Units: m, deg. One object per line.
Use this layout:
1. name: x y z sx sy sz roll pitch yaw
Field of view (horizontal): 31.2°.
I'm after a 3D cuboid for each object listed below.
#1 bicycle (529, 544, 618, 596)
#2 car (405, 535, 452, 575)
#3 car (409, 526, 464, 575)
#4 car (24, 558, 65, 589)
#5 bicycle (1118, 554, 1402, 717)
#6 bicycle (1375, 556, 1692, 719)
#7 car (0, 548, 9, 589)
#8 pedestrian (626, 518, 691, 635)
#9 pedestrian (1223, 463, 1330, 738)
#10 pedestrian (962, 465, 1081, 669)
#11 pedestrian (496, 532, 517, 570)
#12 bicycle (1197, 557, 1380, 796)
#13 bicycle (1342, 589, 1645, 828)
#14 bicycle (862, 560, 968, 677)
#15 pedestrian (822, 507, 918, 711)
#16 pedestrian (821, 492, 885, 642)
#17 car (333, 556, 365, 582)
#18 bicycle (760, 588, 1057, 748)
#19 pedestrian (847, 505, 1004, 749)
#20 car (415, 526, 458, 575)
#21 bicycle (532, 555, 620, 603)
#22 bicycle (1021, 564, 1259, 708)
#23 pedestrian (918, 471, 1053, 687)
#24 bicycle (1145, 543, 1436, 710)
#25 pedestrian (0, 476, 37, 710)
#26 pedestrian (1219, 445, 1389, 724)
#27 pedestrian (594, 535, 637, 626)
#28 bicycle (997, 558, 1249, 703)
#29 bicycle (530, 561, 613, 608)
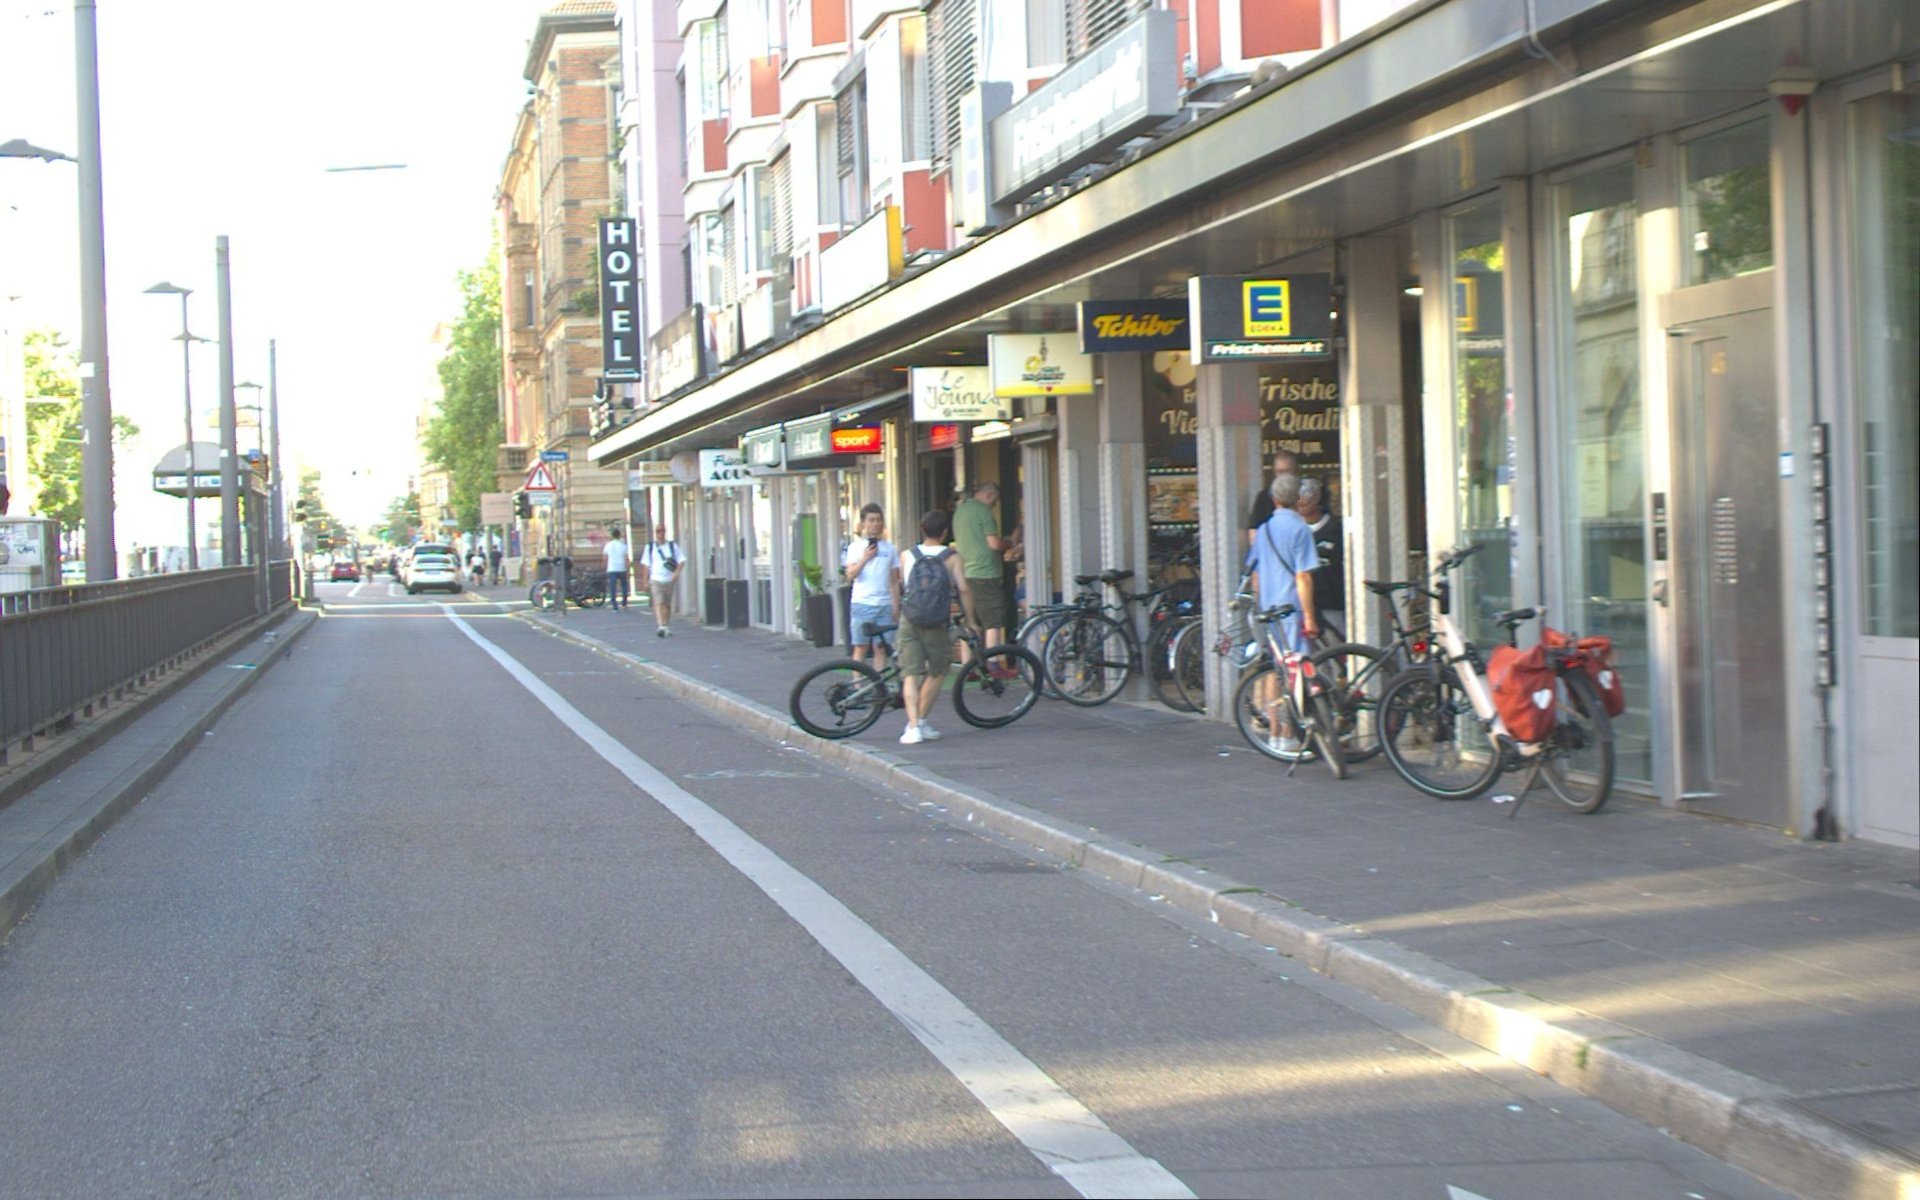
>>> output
1. bicycle: -8.921 -0.696 79.355 1.969 1.101 0.614 -2 1 -12
2. car: -24.125 -2.049 155.856 1.949 1.782 5.183 0 1 -11
3. car: -19.484 -1.842 127.927 1.966 1.765 4.876 0 1 -9
4. car: -48.439 -1.419 181.953 1.869 1.594 4.255 -1 1 -12
5. bicycle: 2.188 0.247 25.117 1.923 1.056 0.576 -4 1 -12
6. bicycle: 3.754 0.236 22.507 1.923 0.935 0.576 -4 1 -12
7. car: -42.336 -1.356 148.379 2.090 1.707 4.820 0 0 -10
8. pedestrian: -4.628 -0.357 52.761 0.798 1.716 1.061 -5 1 -8
9. pedestrian: 1.886 -0.002 20.464 0.407 1.589 0.461 -4 2 18
10. pedestrian: 0.580 -0.309 32.366 0.777 1.860 0.687 -4 1 -29
11. pedestrian: -19.811 -2.145 150.191 0.775 1.561 0.914 -5 2 -8
12. bicycle: 1.781 0.392 18.852 0.799 1.171 1.633 -5 1 2
13. bicycle: 2.459 0.474 16.076 0.676 0.973 1.843 -6 2 -13
14. bicycle: -0.456 0.168 33.984 0.657 1.063 1.795 -6 2 -10
15. pedestrian: -0.762 0.071 28.892 0.632 1.667 0.771 -3 1 -9
16. pedestrian: -1.213 -0.376 39.037 0.541 1.667 0.469 -3 1 -18
17. car: -40.806 -2.069 229.771 2.040 1.668 4.877 0 1 -10
18. bicycle: -0.380 0.483 24.851 2.022 0.970 0.659 -4 2 -7
19. pedestrian: -0.251 0.185 24.387 0.776 1.658 0.917 -4 1 -18
20. car: -22.909 -2.155 150.598 1.705 2.112 3.707 -1 0 -7
21. bicycle: -8.789 -0.492 78.713 1.912 1.044 0.681 -2 1 -12
22. bicycle: 1.393 0.275 26.780 1.730 0.970 0.506 -5 1 -5
23. pedestrian: 0.226 -0.193 31.163 0.914 1.860 0.779 -5 1 -12
24. bicycle: 2.352 0.177 24.475 1.923 1.056 0.576 -4 1 -12
25. pedestrian: -7.493 -0.051 26.629 0.582 1.785 0.606 -2 1 -11
26. pedestrian: 2.283 -0.114 22.832 0.806 1.810 0.731 0 2 43
27. pedestrian: -7.252 -0.410 72.271 0.813 1.878 0.777 2 0 -8
28. bicycle: 1.331 0.237 28.149 1.923 1.056 0.576 -3 1 -10
29. bicycle: -9.044 -0.369 80.079 1.833 1.050 0.718 -2 1 -12
